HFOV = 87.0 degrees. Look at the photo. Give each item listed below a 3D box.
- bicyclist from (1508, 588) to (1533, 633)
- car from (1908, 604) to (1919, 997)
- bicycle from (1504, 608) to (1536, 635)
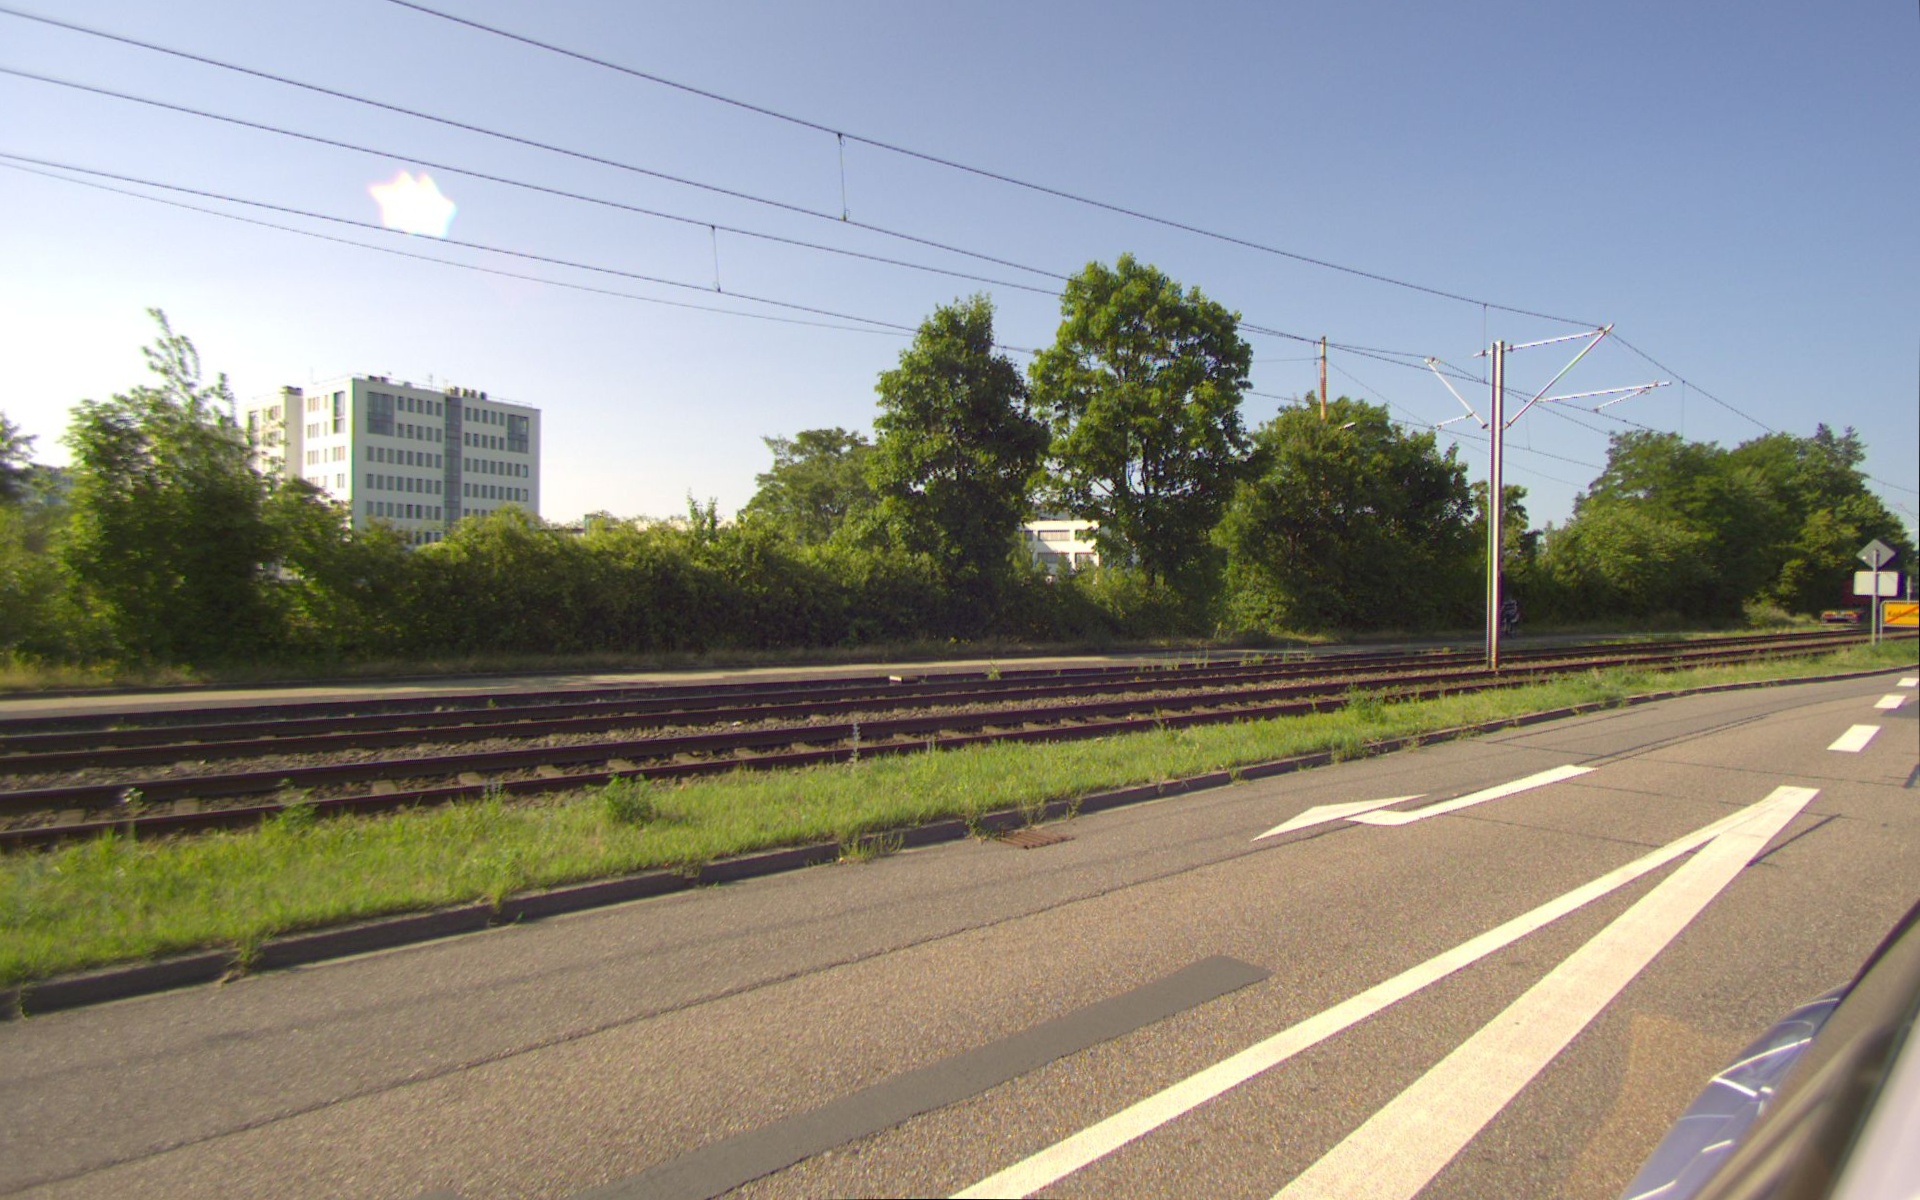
[{"bbox_3d":[23.234,0.442,41.959,0.705,1.830,0.707,0,0,-40],"label":"bicyclist"},{"bbox_3d":[5.747,0.734,4.485,4.383,1.442,1.819,0,0,-41],"label":"car"},{"bbox_3d":[23.189,0.882,41.915,1.841,1.060,0.546,0,1,-41],"label":"bicycle"}]
